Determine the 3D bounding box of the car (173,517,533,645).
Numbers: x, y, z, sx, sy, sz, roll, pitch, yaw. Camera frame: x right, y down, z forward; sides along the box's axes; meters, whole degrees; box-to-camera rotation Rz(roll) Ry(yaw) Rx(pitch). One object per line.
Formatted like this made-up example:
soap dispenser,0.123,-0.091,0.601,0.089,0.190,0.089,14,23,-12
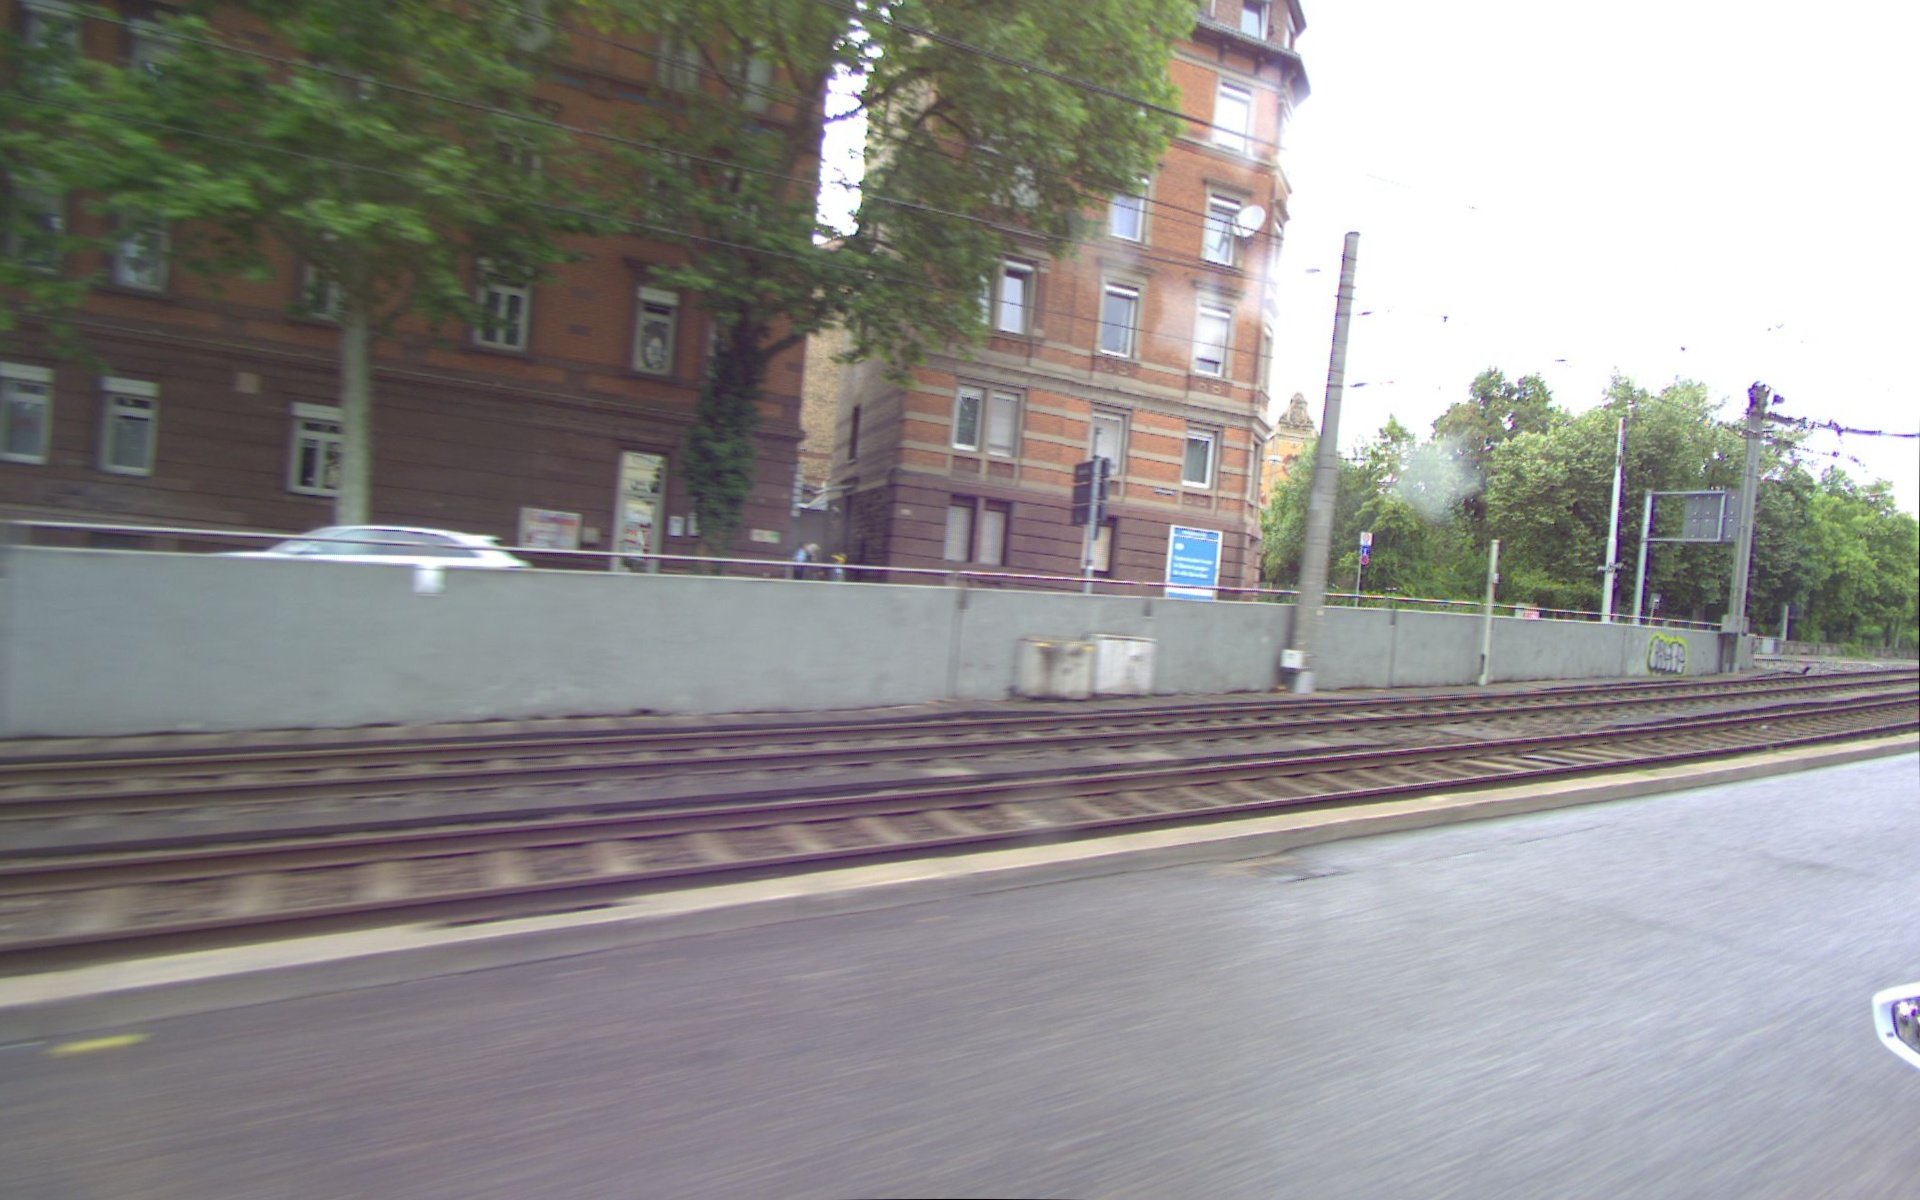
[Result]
car,-8.743,-0.259,14.892,4.304,1.633,1.787,2,3,-28

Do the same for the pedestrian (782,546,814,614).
pedestrian,-3.998,-0.491,24.745,0.710,1.646,0.593,1,0,-16

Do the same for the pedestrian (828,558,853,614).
pedestrian,-2.919,-0.328,24.441,0.498,1.352,0.332,1,0,-30

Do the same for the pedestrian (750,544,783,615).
pedestrian,-4.622,-0.481,24.029,0.710,1.646,0.593,1,0,-16

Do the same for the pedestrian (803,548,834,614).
pedestrian,-3.609,-0.470,25.601,0.710,1.646,0.593,1,0,-16
